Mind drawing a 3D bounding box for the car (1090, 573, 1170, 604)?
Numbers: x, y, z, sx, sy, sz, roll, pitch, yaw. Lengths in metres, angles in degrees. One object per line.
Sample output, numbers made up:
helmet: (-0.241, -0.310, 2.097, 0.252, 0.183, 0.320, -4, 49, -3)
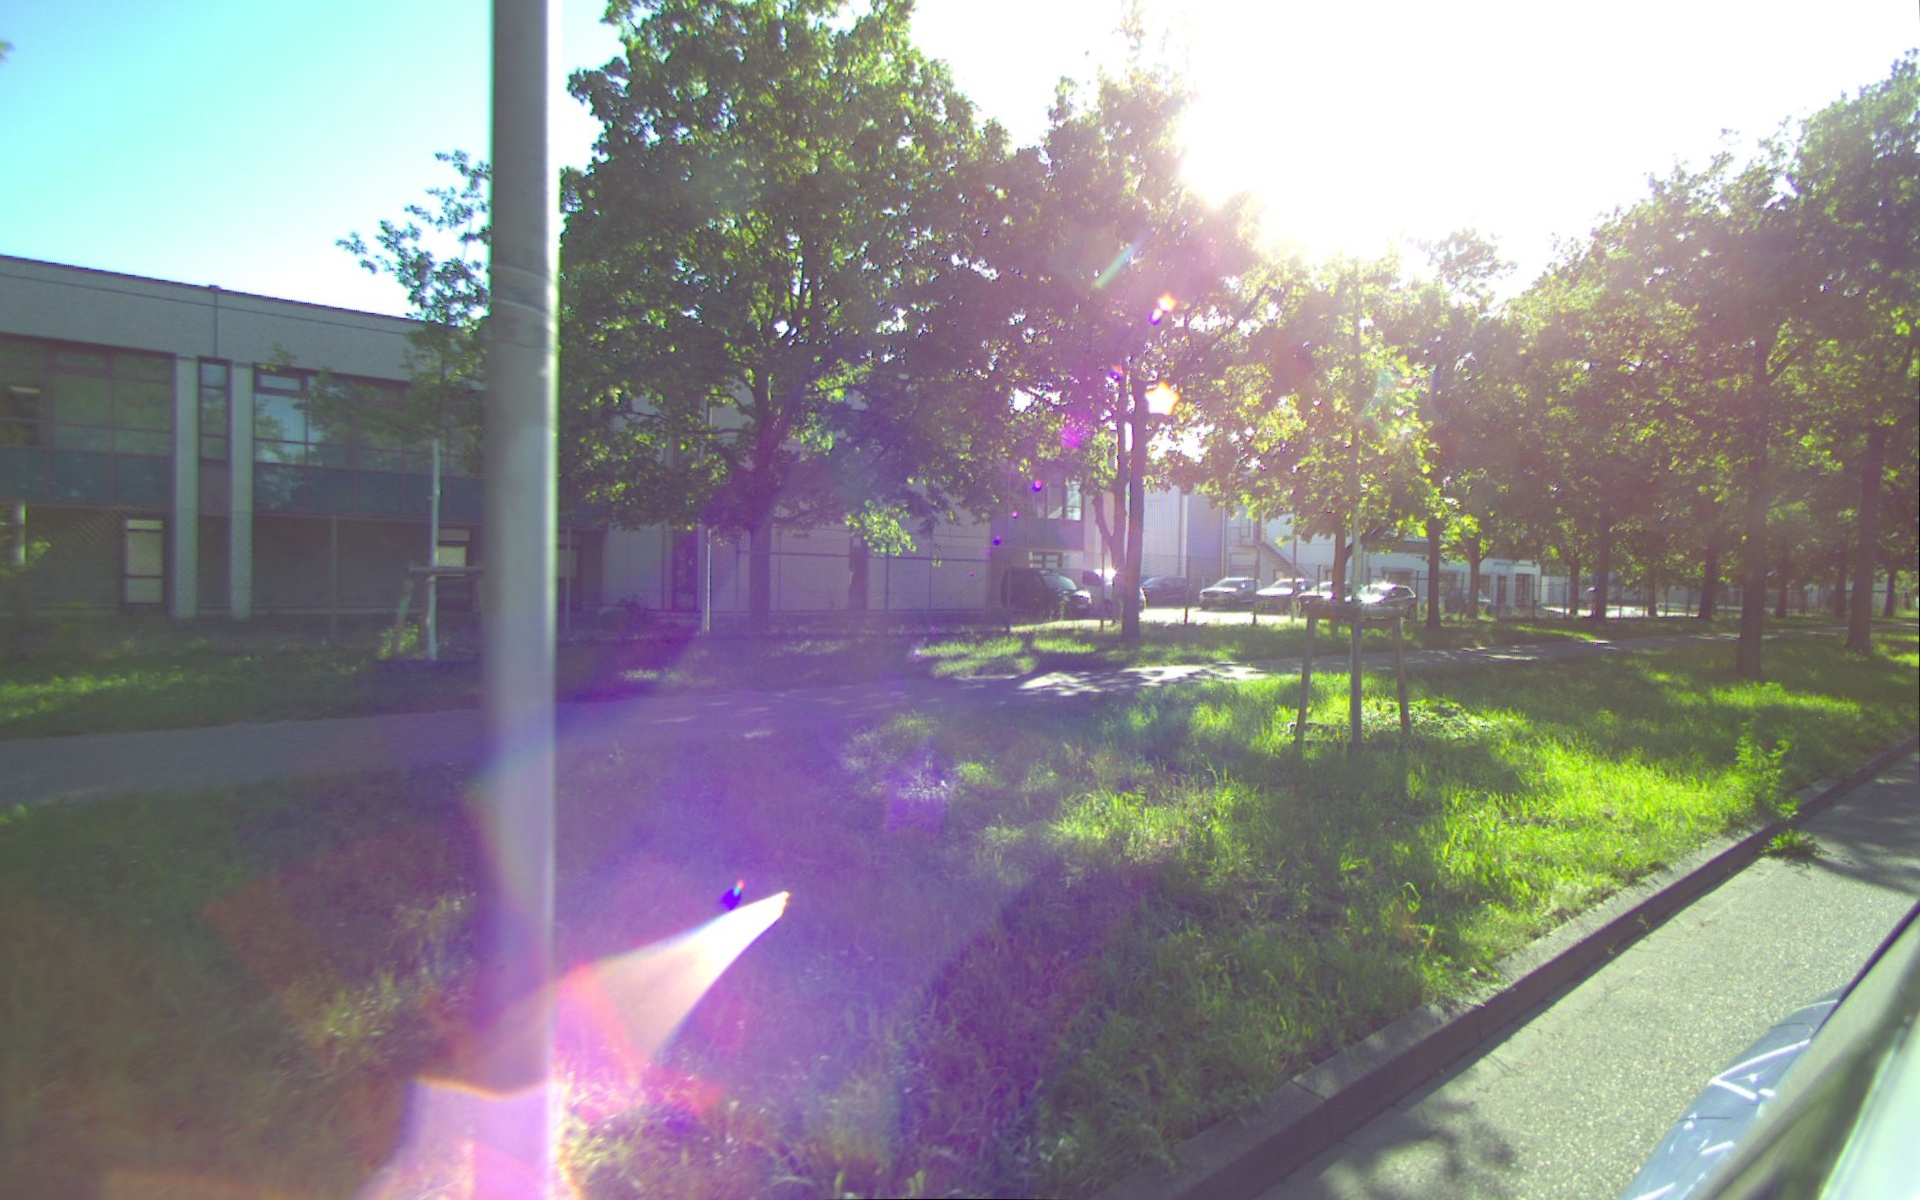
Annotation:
car: (9.814, -0.658, 58.304, 4.628, 1.694, 1.707, -1, 0, -34)

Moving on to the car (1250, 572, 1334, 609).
car: (16.418, -0.485, 49.989, 4.378, 1.694, 1.997, 0, 2, -41)

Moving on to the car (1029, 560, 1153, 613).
car: (5.379, -0.612, 42.088, 1.863, 1.983, 5.069, 0, 3, -43)

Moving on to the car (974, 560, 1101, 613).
car: (2.992, -0.590, 40.100, 1.967, 1.907, 4.953, 0, 3, -43)

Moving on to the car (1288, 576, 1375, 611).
car: (17.670, -0.318, 48.018, 4.378, 1.578, 1.997, 0, 2, -41)

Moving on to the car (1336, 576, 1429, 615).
car: (19.036, -0.233, 45.545, 4.634, 1.626, 1.997, -1, 3, -41)

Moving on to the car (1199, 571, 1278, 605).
car: (14.323, -0.612, 51.915, 4.383, 1.694, 1.995, -1, 1, -44)

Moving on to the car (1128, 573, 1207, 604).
car: (11.467, -0.633, 55.913, 4.370, 1.677, 1.700, -1, 0, -34)
